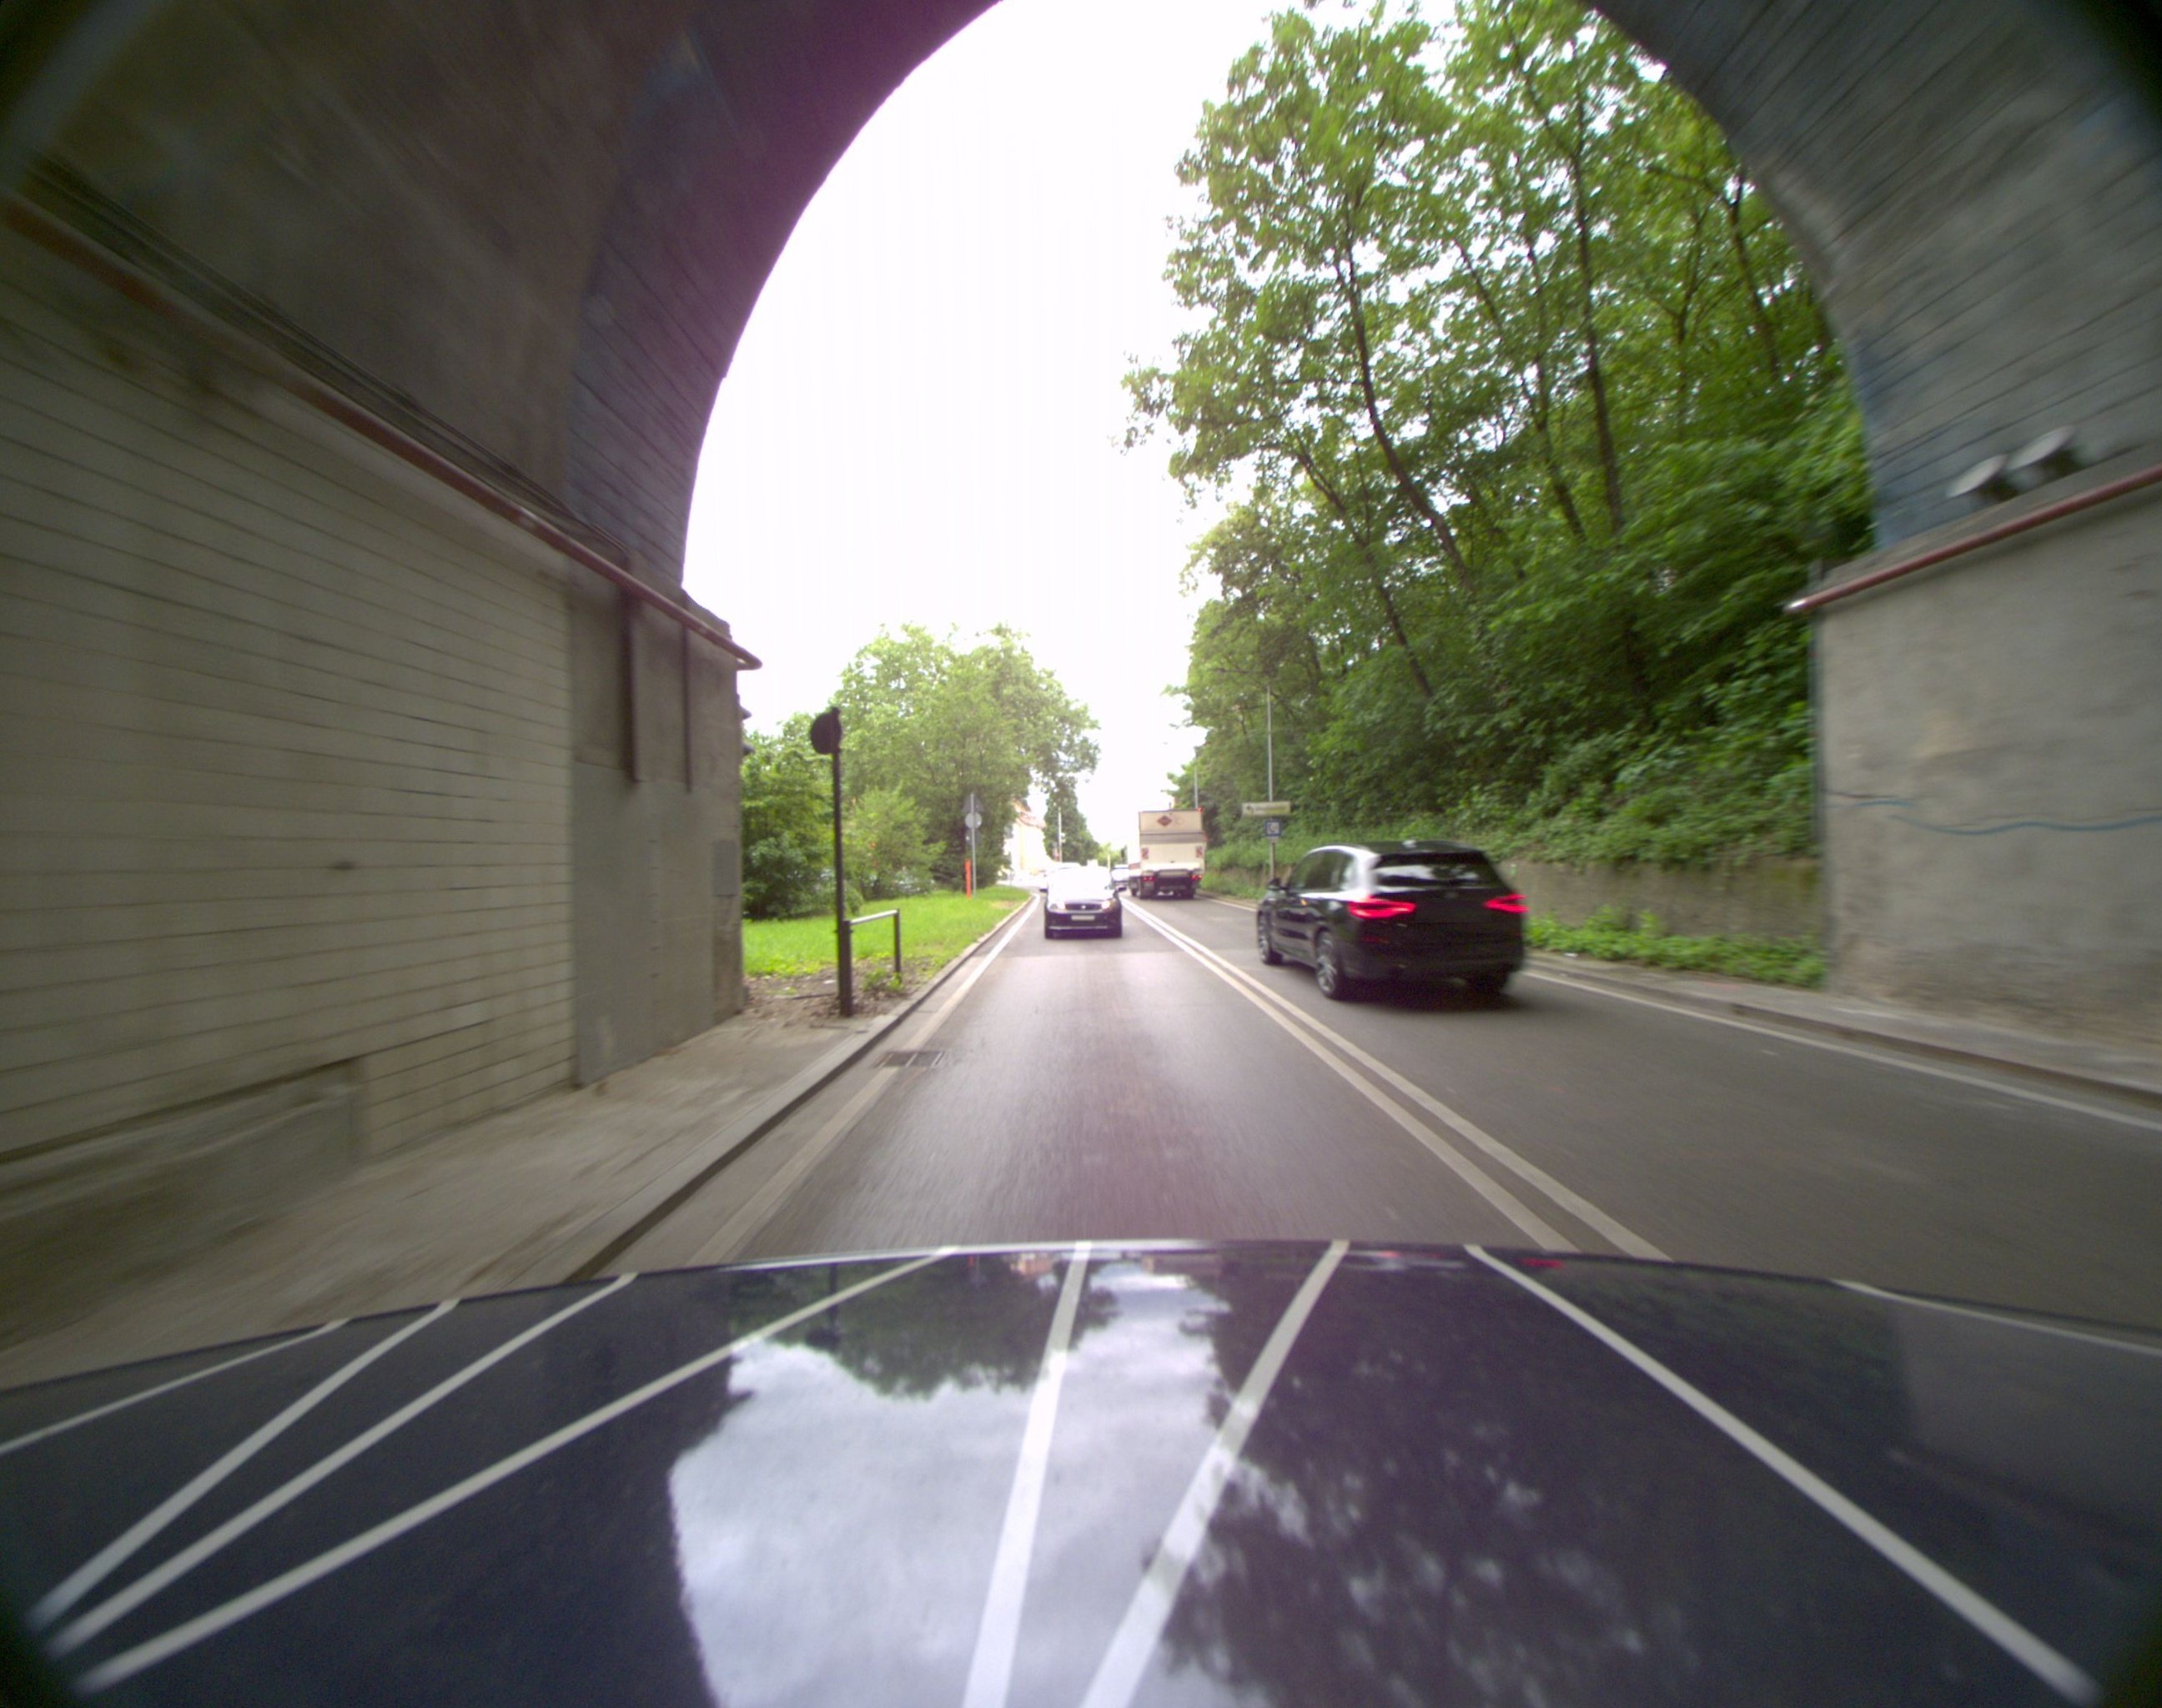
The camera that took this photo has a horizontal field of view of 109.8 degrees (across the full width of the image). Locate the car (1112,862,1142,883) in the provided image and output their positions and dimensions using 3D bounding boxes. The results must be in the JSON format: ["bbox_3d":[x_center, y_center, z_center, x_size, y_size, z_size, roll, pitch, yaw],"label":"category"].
[{"bbox_3d":[3.281,1.306,54.777,1.873,1.363,4.455,0,0,-1],"label":"car"}]

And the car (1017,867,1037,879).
[{"bbox_3d":[-6.848,2.441,96.439,1.814,1.433,3.902,-1,-3,5],"label":"car"}]

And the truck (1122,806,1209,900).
[{"bbox_3d":[3.515,-0.016,33.598,2.683,3.645,7.516,-1,0,-2],"label":"truck"}]

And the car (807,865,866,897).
[{"bbox_3d":[-12.163,1.311,38.046,1.748,1.433,3.898,0,0,-1],"label":"car"}]

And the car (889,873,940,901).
[{"bbox_3d":[-9.212,1.807,42.474,1.790,1.433,5.063,0,-1,-1],"label":"car"}]

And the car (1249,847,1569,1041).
[{"bbox_3d":[3.422,0.811,8.985,1.883,1.666,4.377,-2,0,1],"label":"car"}]

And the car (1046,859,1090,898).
[{"bbox_3d":[-0.664,1.117,36.420,1.780,1.598,4.160,-3,2,-4],"label":"car"}]

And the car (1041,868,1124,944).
[{"bbox_3d":[0.075,1.069,16.860,1.604,1.448,3.685,-1,-1,1],"label":"car"}]
